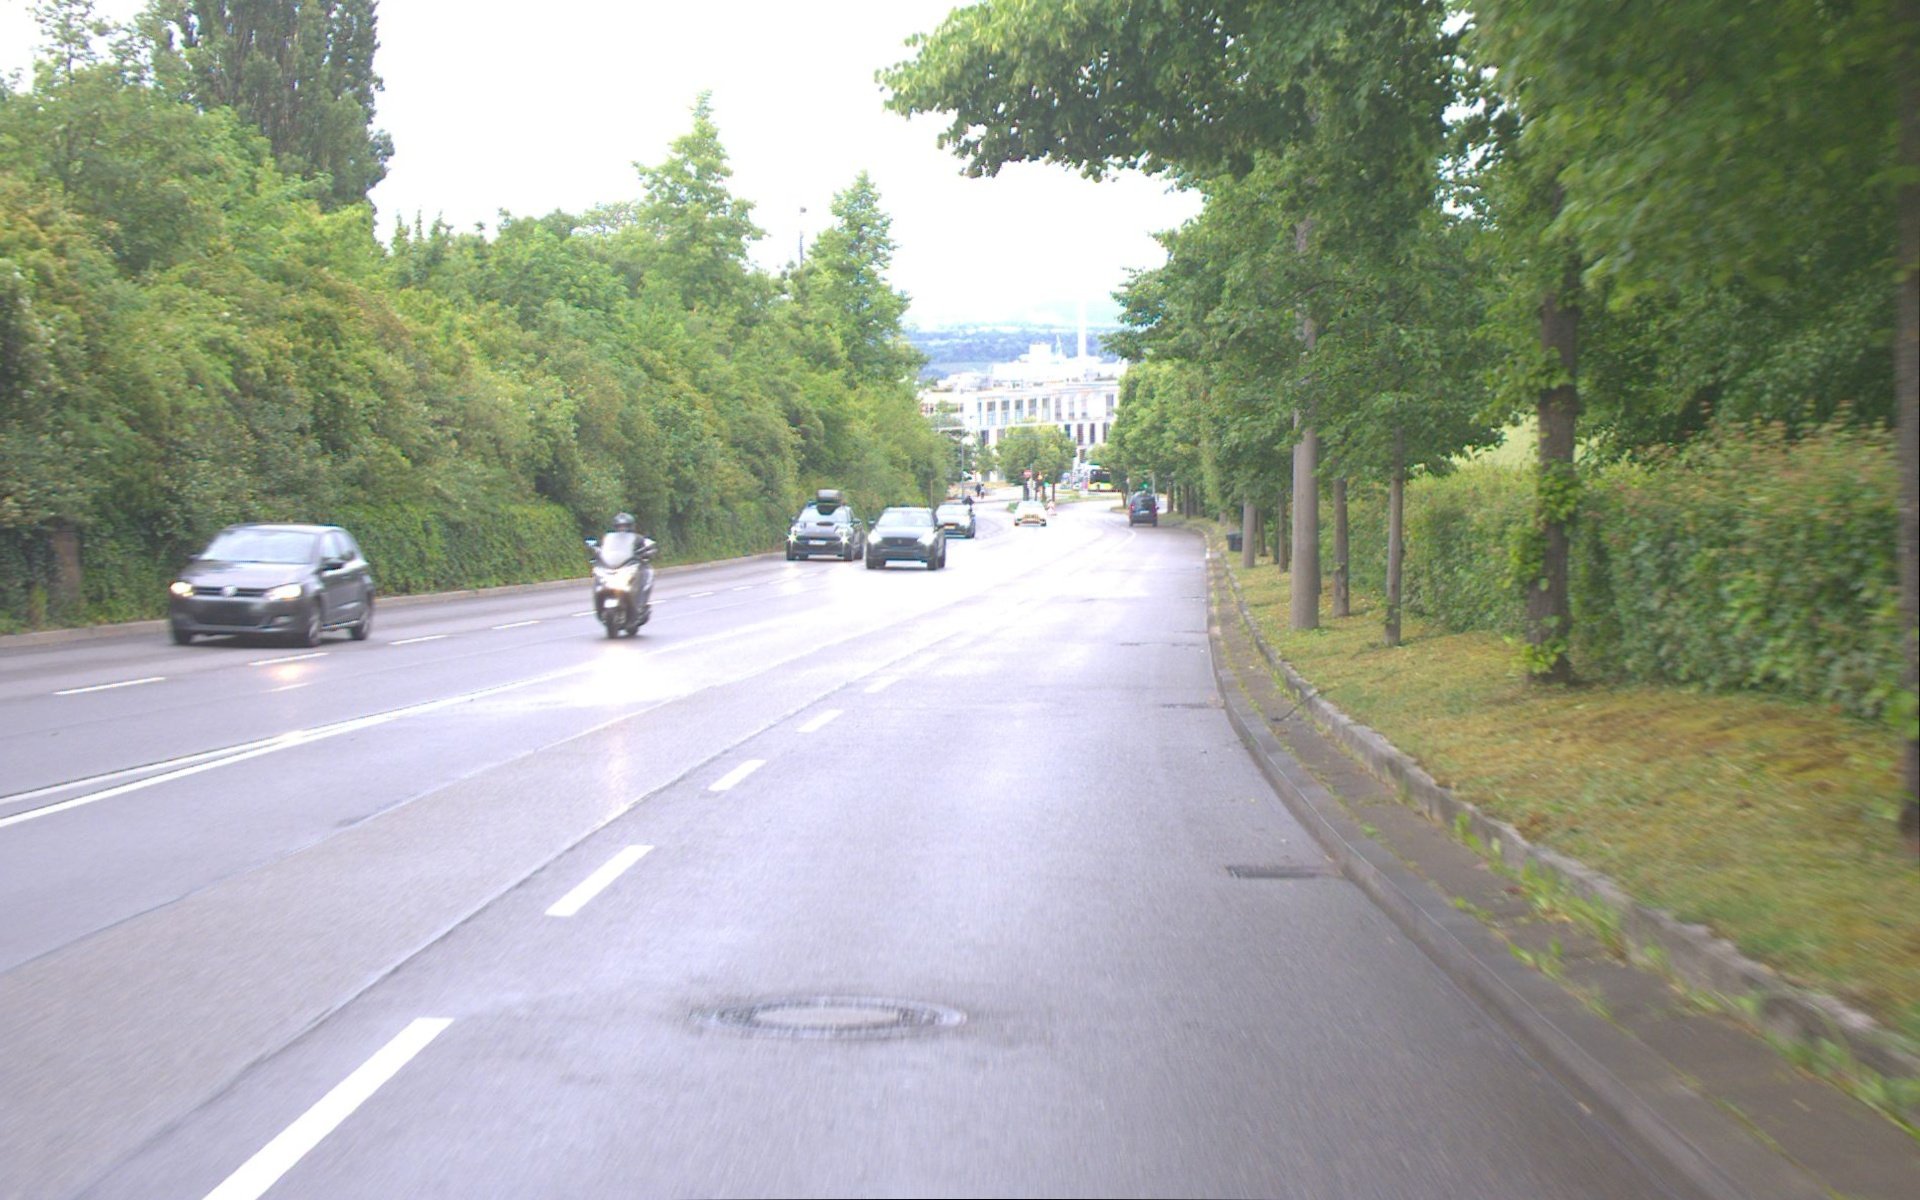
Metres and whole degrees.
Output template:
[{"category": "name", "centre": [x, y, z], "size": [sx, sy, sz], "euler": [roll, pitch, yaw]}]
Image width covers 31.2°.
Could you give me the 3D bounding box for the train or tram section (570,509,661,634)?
[{"category": "train or tram section", "centre": [-4.490, -0.384, 44.960], "size": [0.791, 1.564, 2.384], "euler": [2, 1, 3]}]

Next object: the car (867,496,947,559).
[{"category": "car", "centre": [-1.428, -1.998, 93.886], "size": [1.812, 1.652, 4.595], "euler": [1, 1, 3]}]

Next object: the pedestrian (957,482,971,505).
[{"category": "pedestrian", "centre": [0.275, -7.164, 230.709], "size": [0.805, 1.536, 1.111], "euler": [1, 2, 4]}]

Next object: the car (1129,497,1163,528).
[{"category": "car", "centre": [11.078, -5.194, 204.533], "size": [1.849, 1.696, 3.792], "euler": [2, 1, 5]}]

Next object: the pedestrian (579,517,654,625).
[{"category": "pedestrian", "centre": [-4.488, -0.384, 44.963], "size": [0.791, 1.379, 0.974], "euler": [2, 1, 3]}]

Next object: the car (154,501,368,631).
[{"category": "car", "centre": [-8.124, -0.414, 40.236], "size": [1.549, 1.432, 3.696], "euler": [1, 1, 3]}]

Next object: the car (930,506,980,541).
[{"category": "car", "centre": [-0.205, -3.306, 148.552], "size": [1.760, 1.376, 4.838], "euler": [2, 2, 4]}]

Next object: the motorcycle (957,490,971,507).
[{"category": "motorcycle", "centre": [0.267, -6.820, 230.792], "size": [0.805, 1.127, 2.231], "euler": [1, 2, 4]}]

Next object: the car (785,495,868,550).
[{"category": "car", "centre": [-3.936, -2.298, 101.740], "size": [1.899, 1.547, 4.630], "euler": [2, 2, 4]}]

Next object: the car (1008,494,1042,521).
[{"category": "car", "centre": [3.855, -5.456, 202.270], "size": [1.715, 1.499, 4.516], "euler": [2, 2, 4]}]
